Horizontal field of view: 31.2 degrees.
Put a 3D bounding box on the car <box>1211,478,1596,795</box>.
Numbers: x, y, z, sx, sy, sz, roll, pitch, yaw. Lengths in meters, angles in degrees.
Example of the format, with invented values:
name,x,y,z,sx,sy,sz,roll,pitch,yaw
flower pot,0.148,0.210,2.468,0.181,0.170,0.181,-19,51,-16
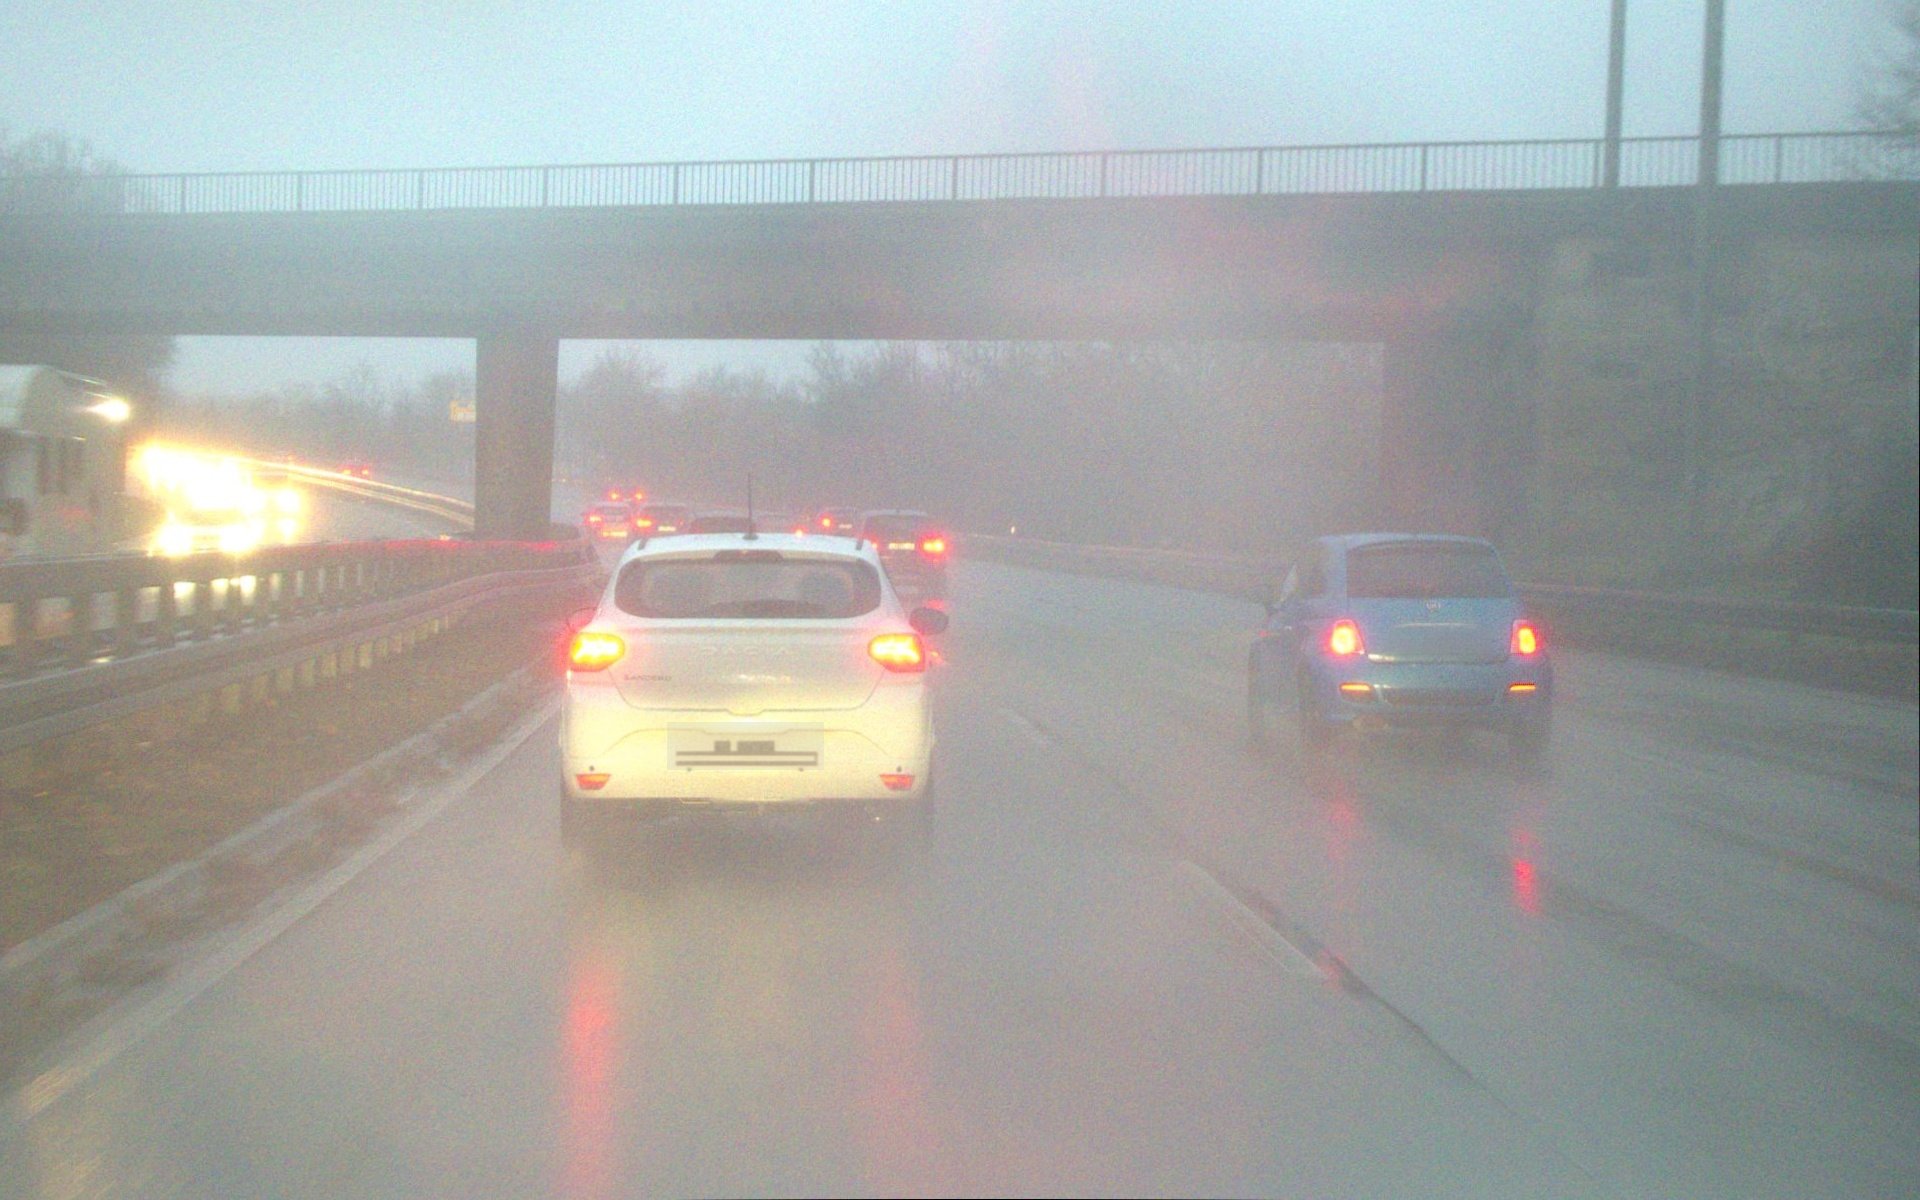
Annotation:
name,x,y,z,sx,sy,sz,roll,pitch,yaw
car,3.028,0.229,24.270,1.932,2.012,3.774,2,0,-4

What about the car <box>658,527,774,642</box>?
name,x,y,z,sx,sy,sz,roll,pitch,yaw
car,-4.538,-0.291,63.538,1.993,2.007,4.001,2,0,-5

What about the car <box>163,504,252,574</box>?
name,x,y,z,sx,sy,sz,roll,pitch,yaw
car,-18.616,-1.519,85.154,1.582,1.664,4.297,0,1,-5

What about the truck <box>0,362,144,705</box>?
name,x,y,z,sx,sy,sz,roll,pitch,yaw
truck,-10.347,-0.653,34.658,2.714,3.150,7.730,2,0,-3

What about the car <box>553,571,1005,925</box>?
name,x,y,z,sx,sy,sz,roll,pitch,yaw
car,-0.901,0.670,17.741,2.024,1.569,4.000,2,0,-2

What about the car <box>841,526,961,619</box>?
name,x,y,z,sx,sy,sz,roll,pitch,yaw
car,-1.175,-0.518,66.707,1.932,1.541,3.774,-4,-1,-6
